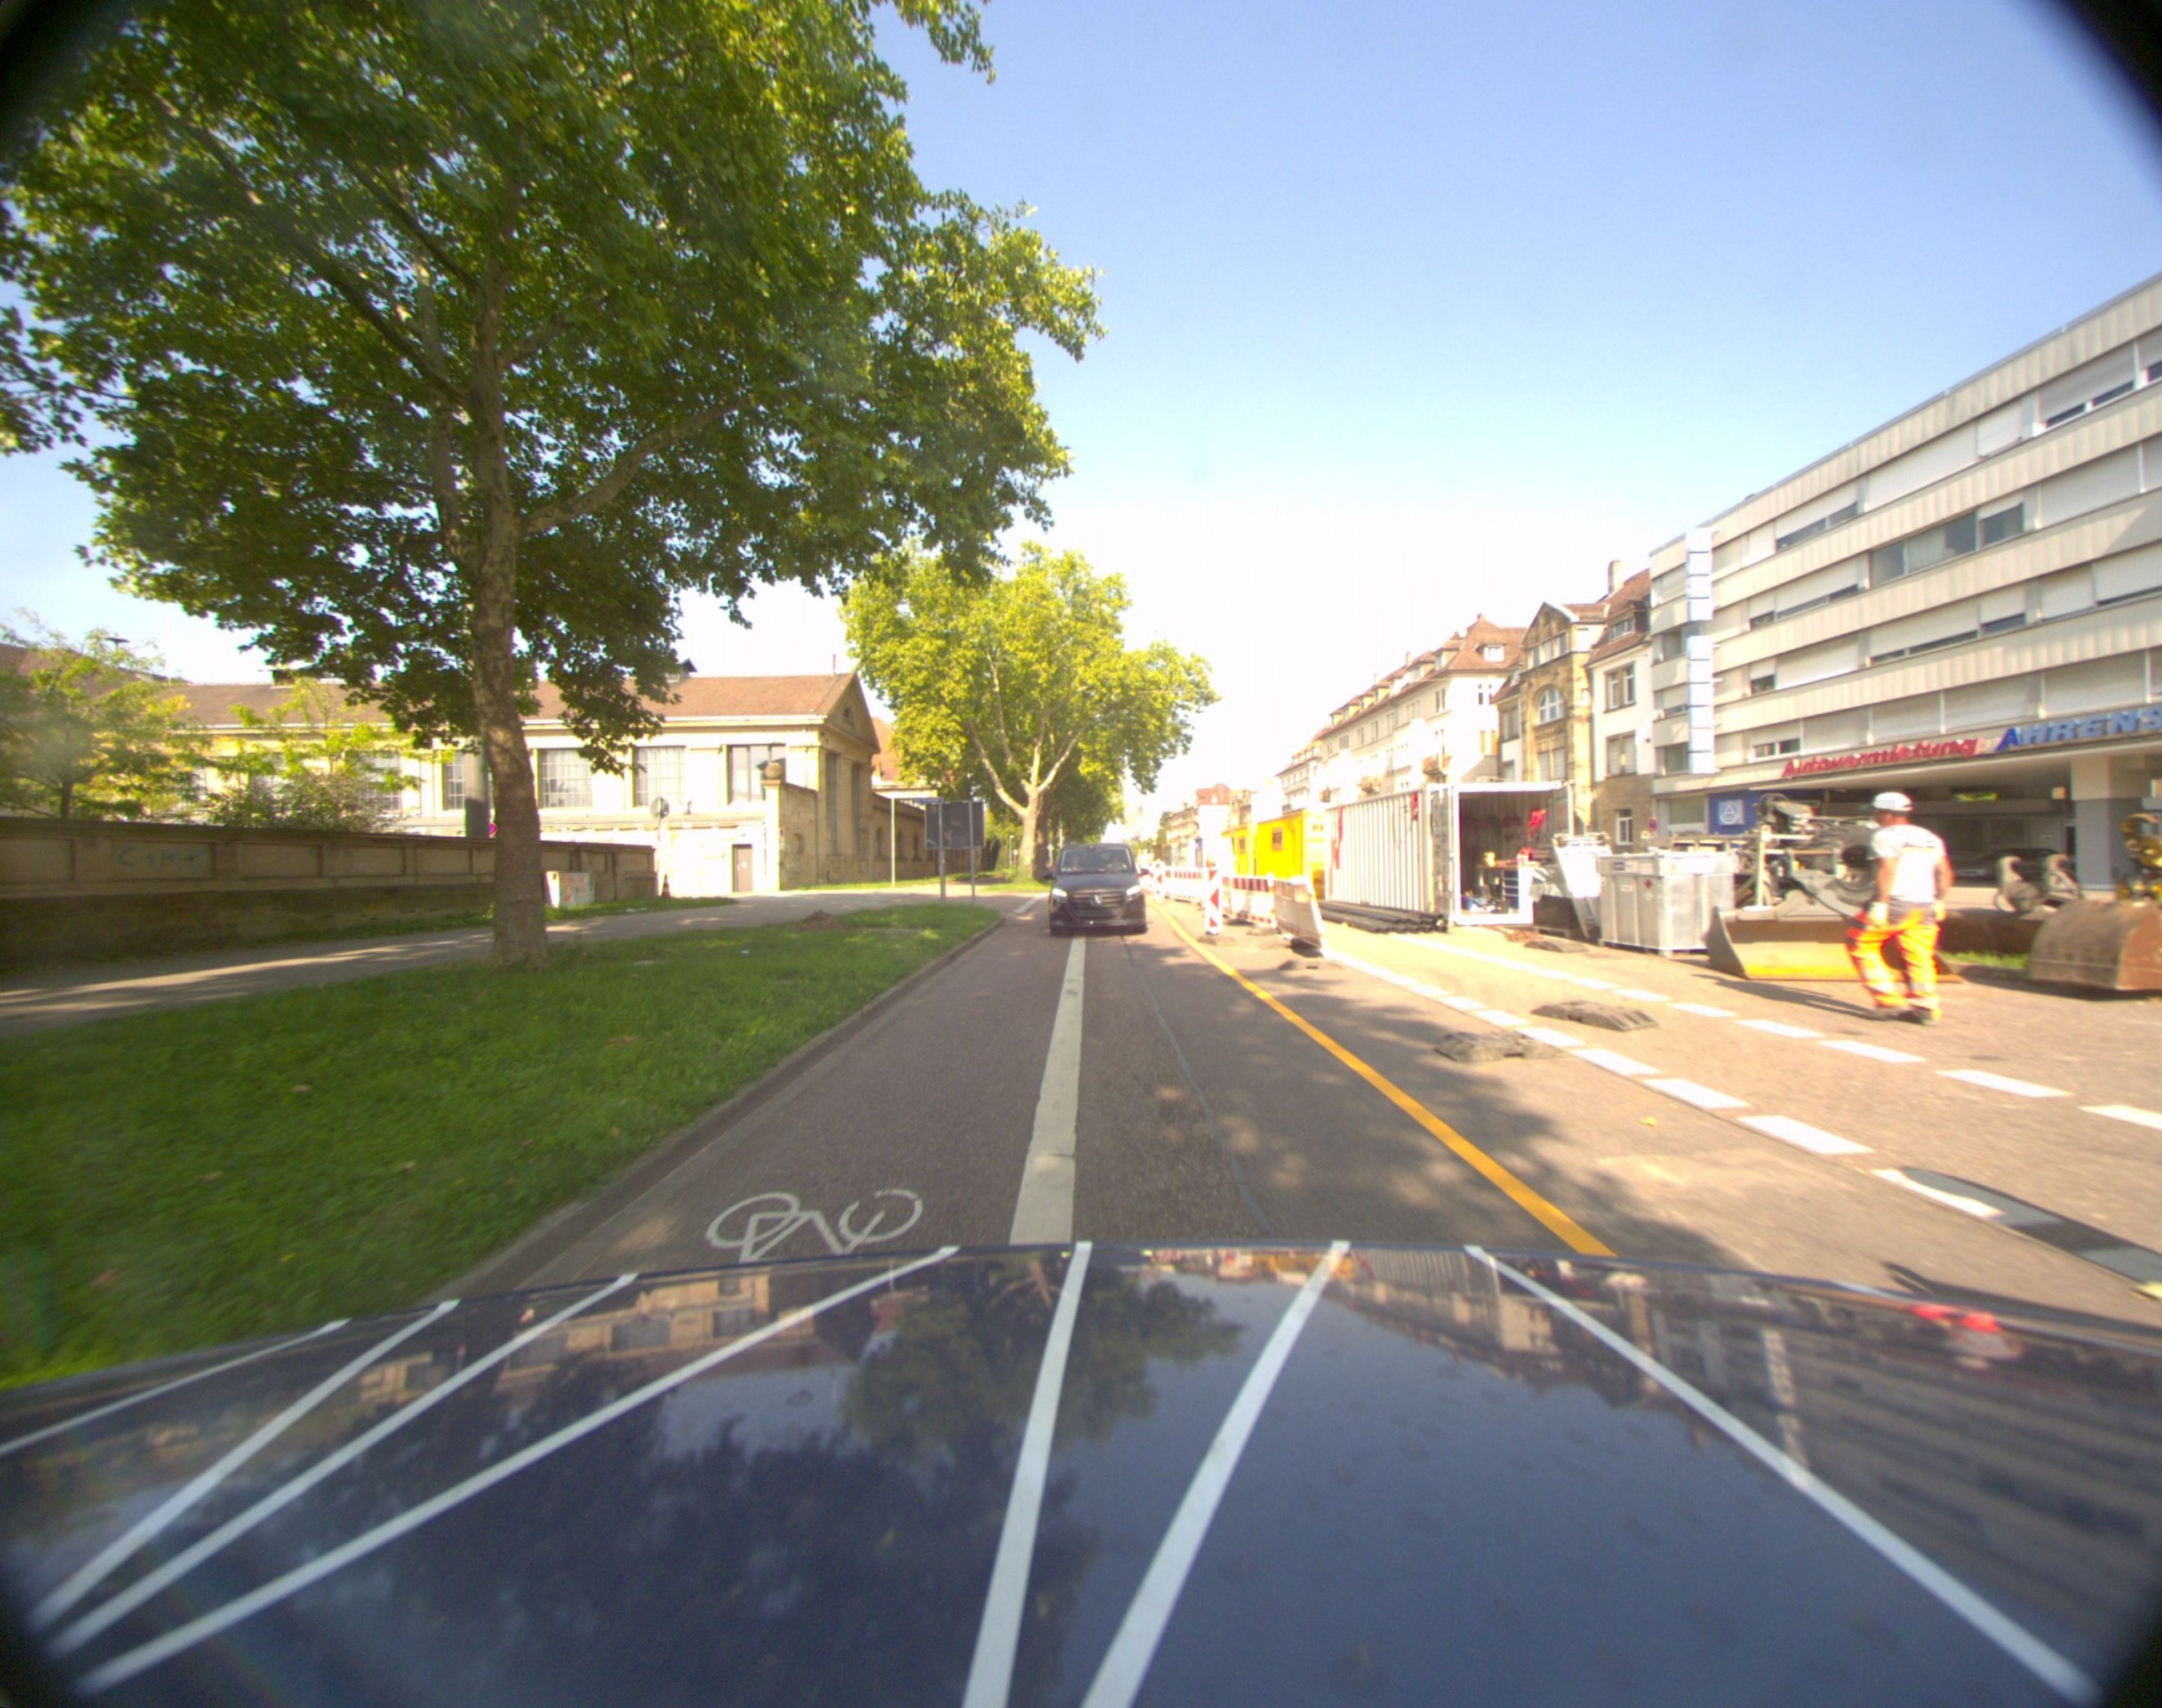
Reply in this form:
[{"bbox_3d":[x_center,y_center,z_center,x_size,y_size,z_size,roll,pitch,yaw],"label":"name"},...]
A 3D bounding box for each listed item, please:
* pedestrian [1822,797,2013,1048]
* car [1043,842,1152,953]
[{"bbox_3d":[6.295,0.493,5.745,0.804,1.787,0.595,0,0,-7],"label":"pedestrian"},{"bbox_3d":[0.319,0.767,15.416,1.853,1.875,4.179,-2,0,1],"label":"car"}]
